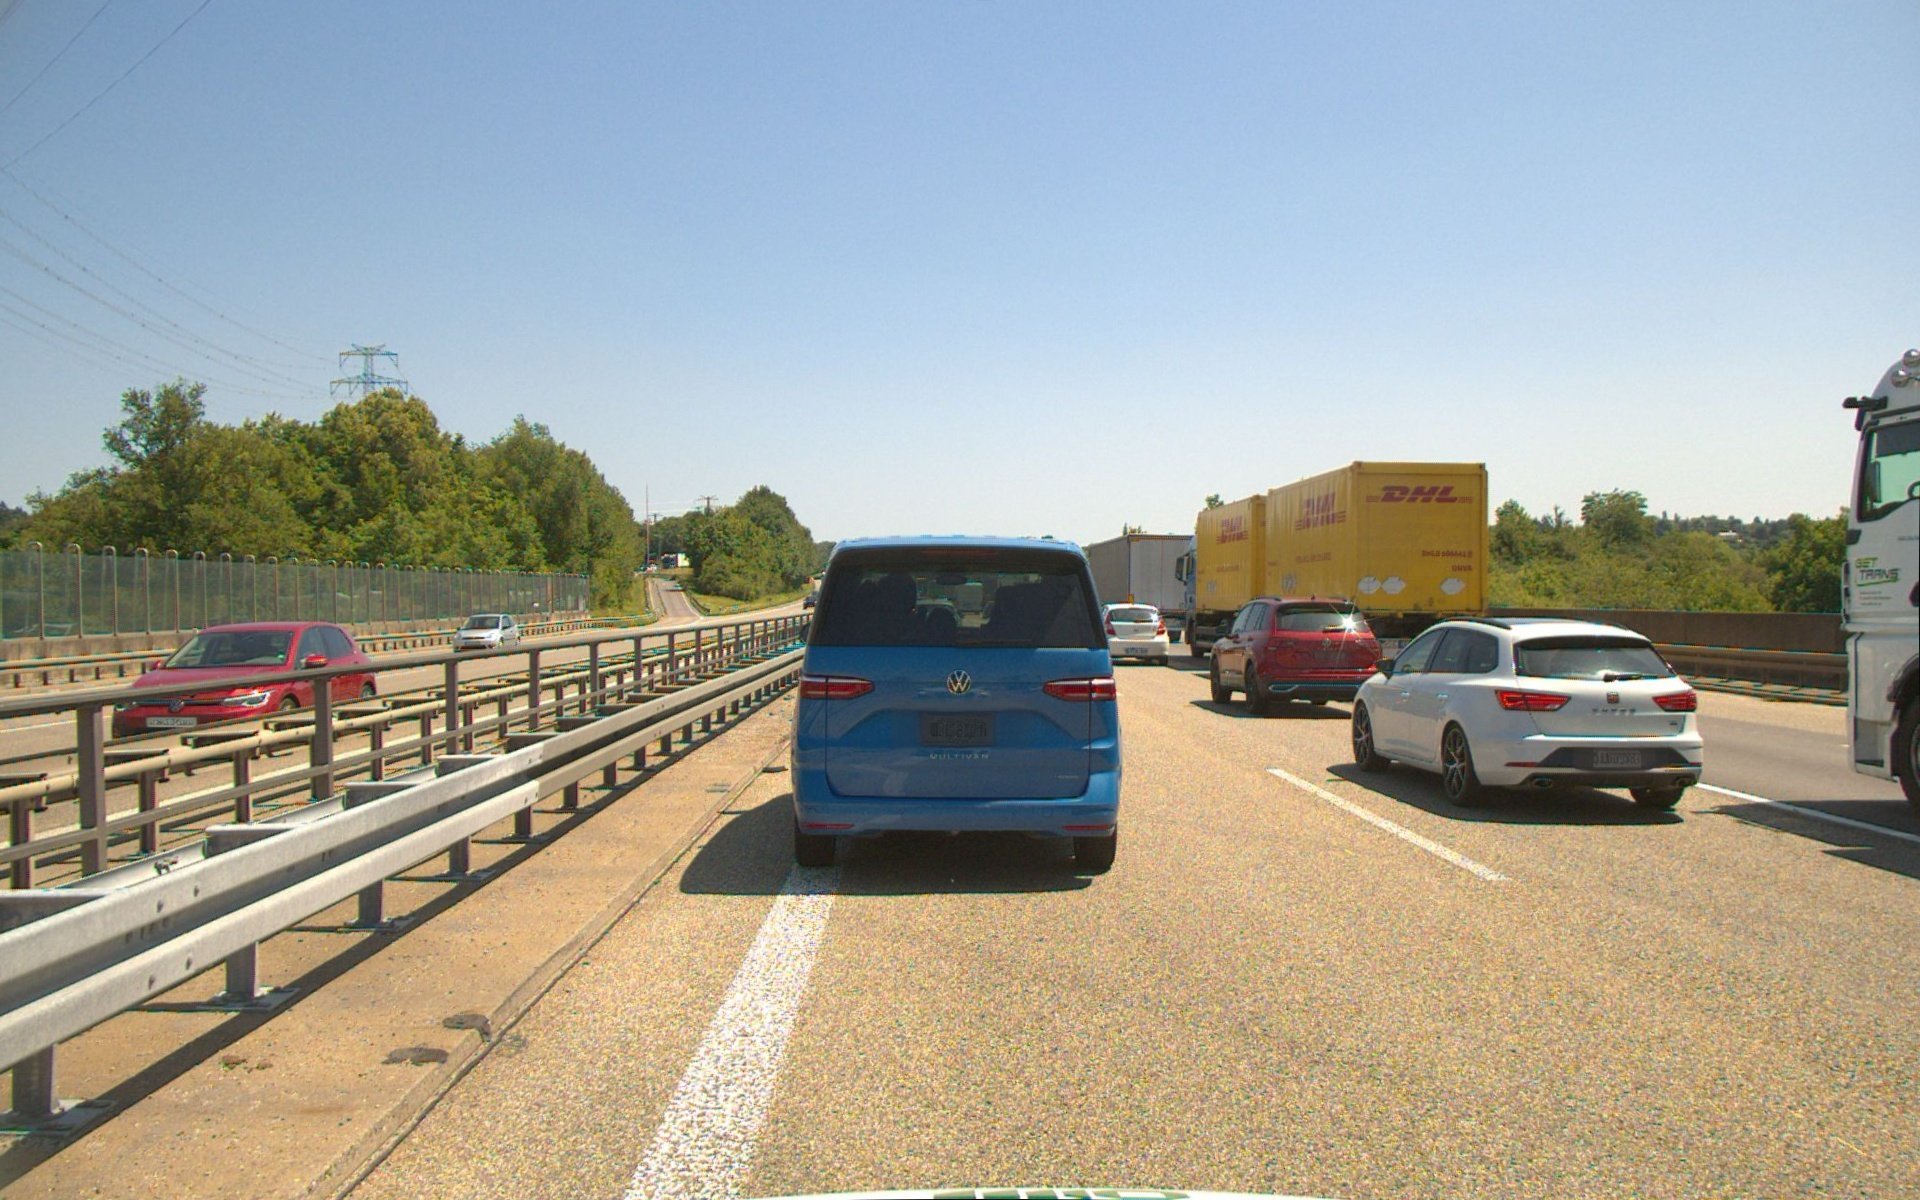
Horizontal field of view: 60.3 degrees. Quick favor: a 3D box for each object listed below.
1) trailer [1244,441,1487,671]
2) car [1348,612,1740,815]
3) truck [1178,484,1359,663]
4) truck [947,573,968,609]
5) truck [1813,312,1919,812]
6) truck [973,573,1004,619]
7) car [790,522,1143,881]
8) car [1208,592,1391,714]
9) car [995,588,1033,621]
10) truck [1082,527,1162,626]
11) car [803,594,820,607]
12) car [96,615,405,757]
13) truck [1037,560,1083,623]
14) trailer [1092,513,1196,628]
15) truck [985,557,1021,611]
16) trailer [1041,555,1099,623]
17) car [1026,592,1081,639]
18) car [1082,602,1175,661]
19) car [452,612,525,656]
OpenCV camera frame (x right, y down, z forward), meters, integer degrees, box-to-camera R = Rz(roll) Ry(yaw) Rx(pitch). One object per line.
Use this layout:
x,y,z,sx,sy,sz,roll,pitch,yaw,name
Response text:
8.065,-0.737,34.205,2.646,4.094,8.928,1,-1,-1,trailer
4.641,0.823,13.832,1.745,1.411,4.187,0,0,-1,car
7.897,-0.565,43.849,2.667,4.125,10.333,1,-1,-1,truck
-0.441,-1.331,263.395,2.777,5.467,12.548,1,-1,-2,truck
8.512,-0.298,8.207,2.793,3.666,10.765,1,-1,-1,truck
3.216,-0.383,191.639,2.777,5.128,11.810,1,-1,-2,truck
0.004,0.536,10.663,1.844,1.869,3.999,0,0,-1,car
4.898,0.715,24.400,1.813,1.636,3.999,0,0,-1,car
2.686,0.207,83.194,1.680,1.567,3.820,-1,0,-1,car
7.152,-0.974,73.901,2.712,4.167,6.982,1,-1,-1,truck
-18.761,0.112,209.421,1.744,1.596,4.385,-2,0,-1,car
-8.228,0.936,19.662,1.804,1.472,4.417,1,-1,-1,car
6.261,-0.472,103.966,2.320,3.787,6.031,1,-1,-2,truck
7.277,-1.033,66.994,2.699,4.219,11.308,1,-1,-1,trailer
4.197,-1.504,164.882,2.777,5.128,11.140,1,-1,-2,truck
6.436,-0.553,97.925,2.331,3.810,11.184,1,-1,-2,trailer
3.322,0.576,59.381,1.680,1.615,3.820,0,-1,-1,car
4.236,0.763,42.056,1.801,1.438,3.998,0,0,-3,car
-16.961,1.190,59.644,1.572,1.418,3.676,-2,0,-1,car
